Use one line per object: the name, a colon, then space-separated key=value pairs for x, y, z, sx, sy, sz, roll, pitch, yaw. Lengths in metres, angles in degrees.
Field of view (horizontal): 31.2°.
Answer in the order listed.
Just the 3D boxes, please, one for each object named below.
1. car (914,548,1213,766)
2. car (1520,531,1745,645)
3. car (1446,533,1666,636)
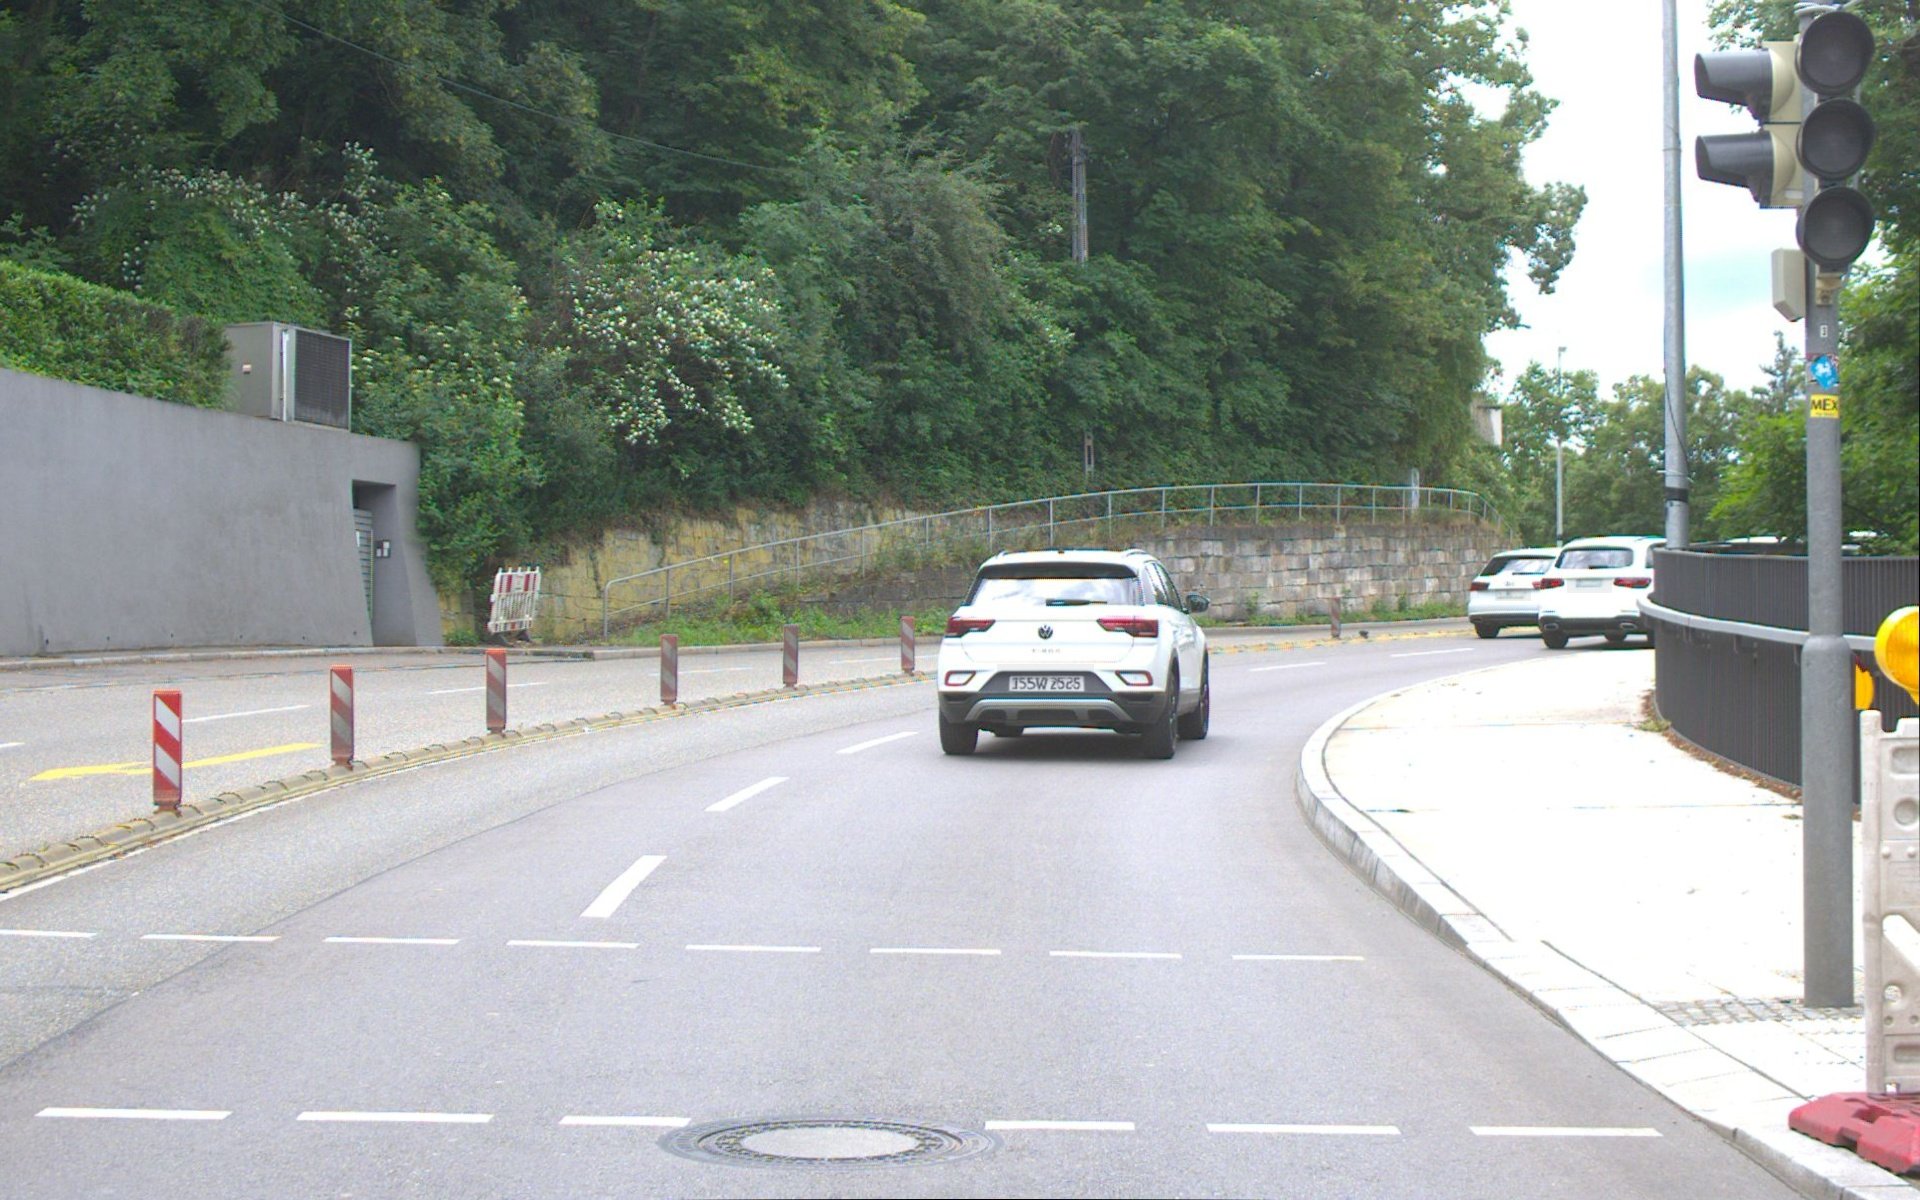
car: x=0.885 y=0.383 z=26.925 sx=1.868 sy=1.531 sz=3.802 roll=1 pitch=1 yaw=9
car: x=10.157 y=-0.161 z=51.723 sx=1.997 sy=1.581 sz=3.993 roll=2 pitch=0 yaw=32
car: x=9.908 y=-0.247 z=56.949 sx=1.911 sy=1.568 sz=3.991 roll=2 pitch=0 yaw=37
